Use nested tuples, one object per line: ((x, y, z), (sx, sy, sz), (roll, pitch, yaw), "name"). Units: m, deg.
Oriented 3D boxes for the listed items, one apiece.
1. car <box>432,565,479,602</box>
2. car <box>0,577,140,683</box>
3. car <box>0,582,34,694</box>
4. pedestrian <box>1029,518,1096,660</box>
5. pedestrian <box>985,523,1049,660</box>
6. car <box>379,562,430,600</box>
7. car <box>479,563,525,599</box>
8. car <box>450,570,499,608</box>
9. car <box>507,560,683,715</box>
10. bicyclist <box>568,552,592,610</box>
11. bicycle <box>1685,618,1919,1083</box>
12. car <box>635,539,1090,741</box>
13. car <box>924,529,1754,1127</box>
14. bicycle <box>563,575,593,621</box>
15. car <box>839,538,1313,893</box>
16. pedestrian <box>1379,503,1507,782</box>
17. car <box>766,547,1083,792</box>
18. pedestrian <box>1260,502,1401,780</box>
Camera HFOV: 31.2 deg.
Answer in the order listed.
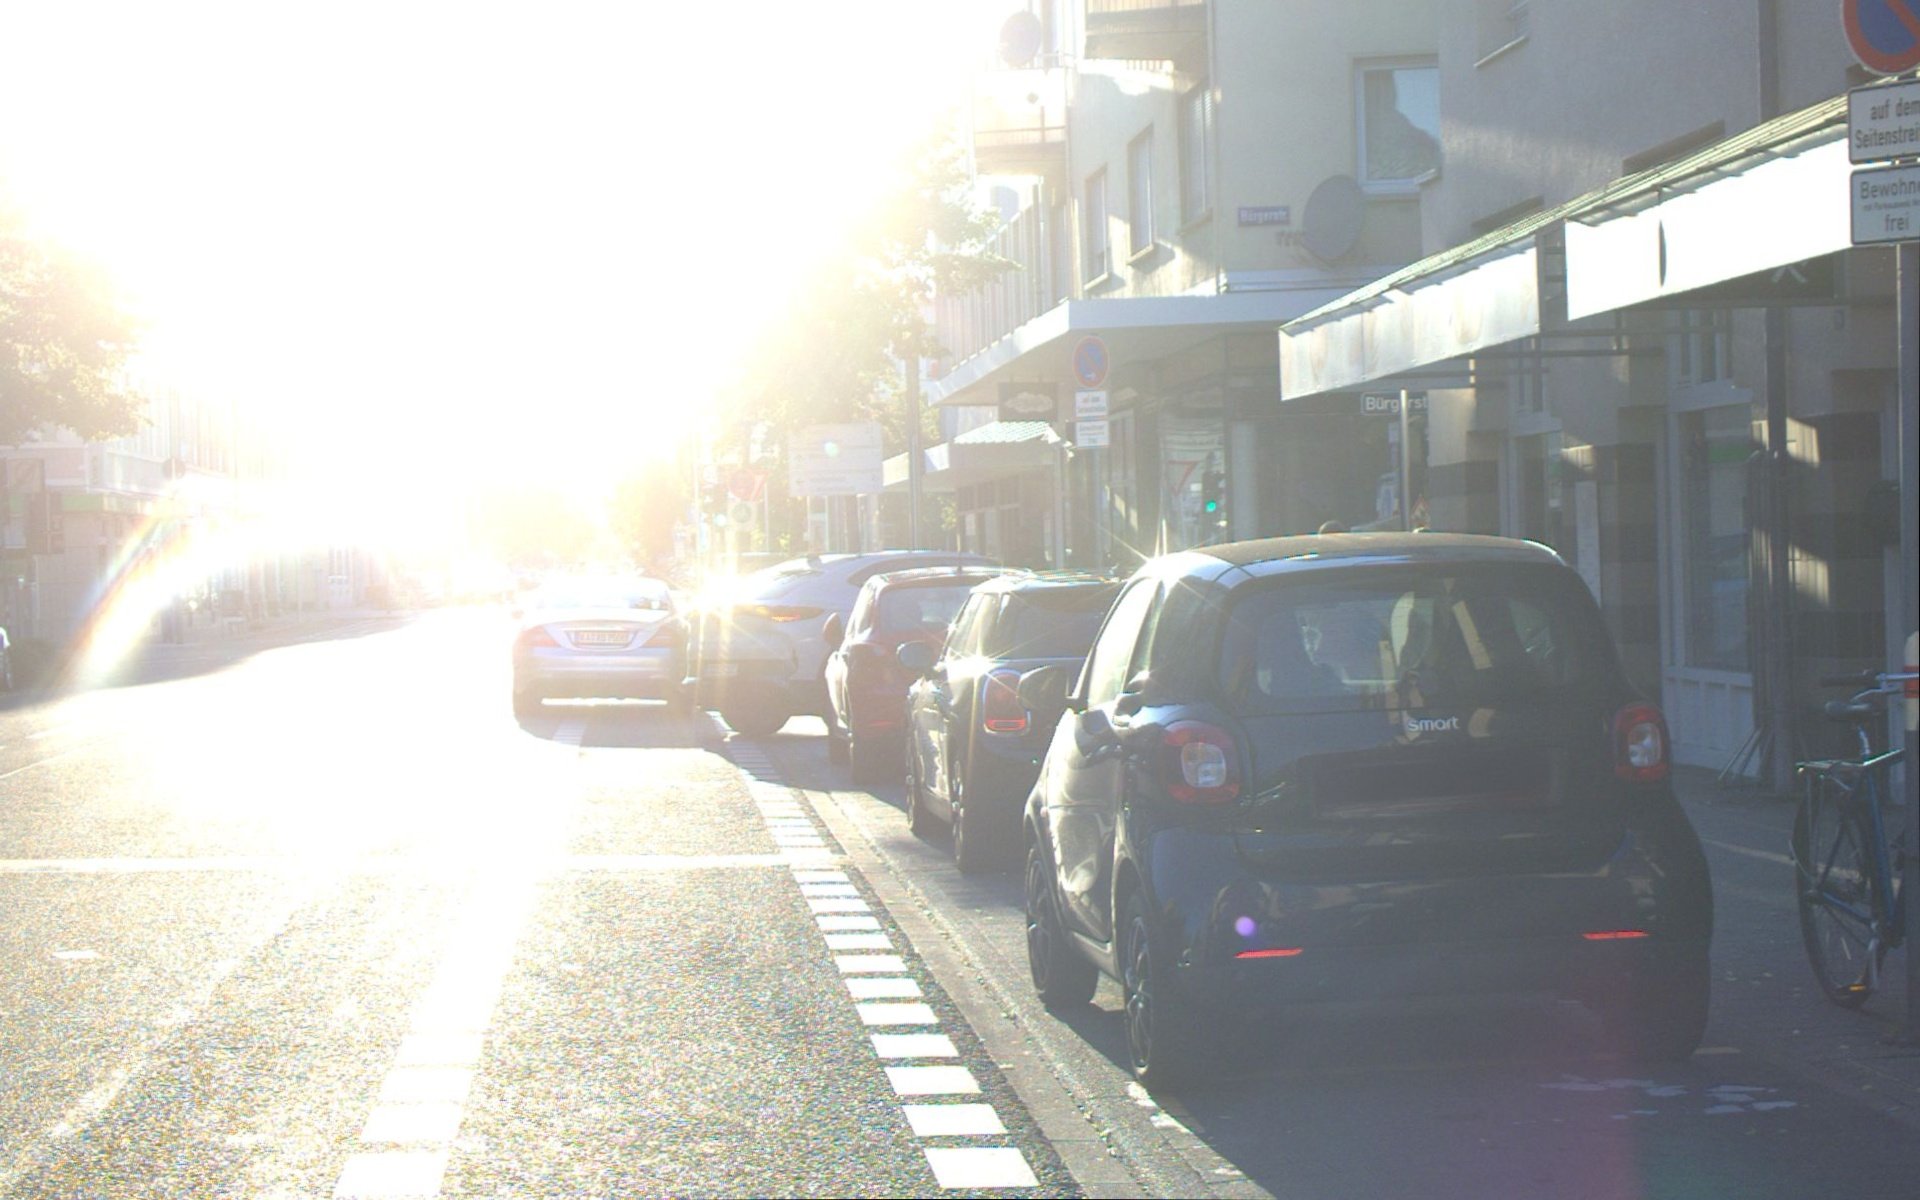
((-21.628, -0.732, 147.492), (1.689, 1.497, 3.788), (-1, 1, -4), "car")
((-13.750, 0.431, 52.627), (1.689, 1.497, 3.788), (-1, 1, -4), "car")
((-14.027, 0.544, 47.441), (1.689, 1.497, 3.788), (-1, 1, -4), "car")
((1.310, -0.150, 44.103), (0.718, 1.785, 0.667), (-2, 1, -5), "pedestrian")
((0.758, -0.119, 45.871), (0.718, 1.785, 0.667), (-2, 1, -5), "pedestrian")
((-22.671, -0.782, 140.473), (1.689, 1.497, 3.788), (-1, 1, -4), "car")
((-19.739, -0.831, 148.249), (1.689, 1.497, 3.788), (-1, 1, -4), "car")
((-19.888, -0.457, 140.911), (1.689, 1.497, 3.788), (-1, 1, -4), "car")
((-3.759, 0.353, 35.899), (1.689, 1.497, 3.788), (0, 1, -4), "car")
((-10.394, -0.525, 94.079), (0.547, 1.575, 0.803), (-2, 1, -3), "bicyclist")
((2.720, 0.682, 10.280), (0.558, 1.202, 1.978), (-1, 1, -3), "bicycle")
((-0.802, 0.309, 31.130), (1.877, 1.692, 4.312), (1, 1, 36), "car")
((1.031, 0.583, 11.354), (1.789, 1.575, 3.968), (-1, 1, -8), "car")
((-10.455, -0.057, 94.167), (0.663, 1.238, 2.130), (0, 1, -3), "bicycle")
((0.474, 0.493, 17.603), (1.789, 1.575, 3.788), (-1, 1, -8), "car")
((3.015, 0.254, 21.524), (0.559, 1.694, 0.832), (-2, 1, -6), "pedestrian")
((-0.334, 0.426, 24.618), (1.789, 1.575, 3.788), (-1, 1, -8), "car")
((2.332, 0.247, 21.718), (0.630, 1.694, 1.040), (-2, 1, -6), "pedestrian")
